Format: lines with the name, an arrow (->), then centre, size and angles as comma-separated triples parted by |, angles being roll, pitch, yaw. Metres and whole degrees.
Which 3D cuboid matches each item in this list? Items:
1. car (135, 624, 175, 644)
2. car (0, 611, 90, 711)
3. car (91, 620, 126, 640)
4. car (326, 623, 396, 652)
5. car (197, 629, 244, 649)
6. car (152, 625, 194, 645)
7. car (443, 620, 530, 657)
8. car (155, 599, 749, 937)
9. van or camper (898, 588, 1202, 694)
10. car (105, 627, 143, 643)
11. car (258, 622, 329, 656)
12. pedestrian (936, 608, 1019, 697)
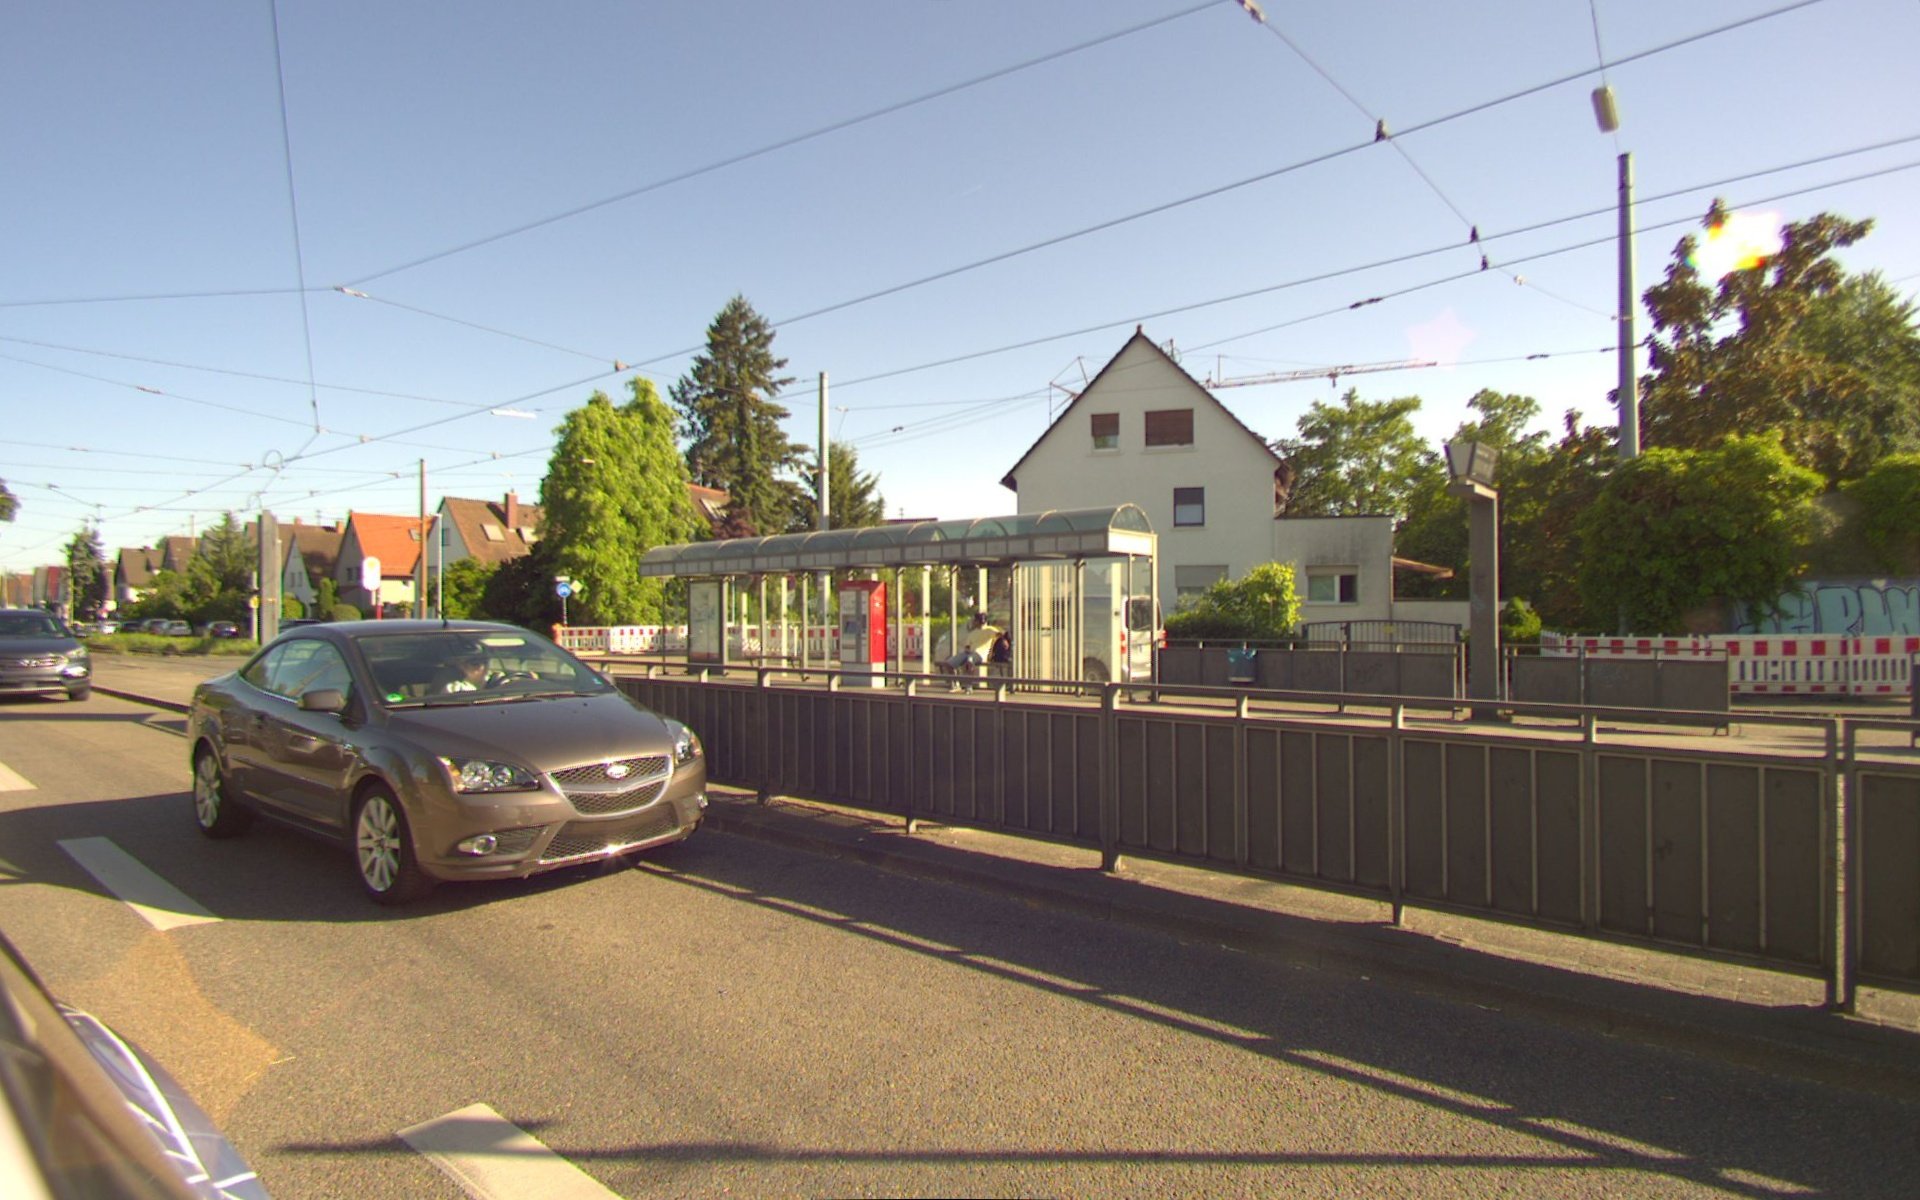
car -> -69.222, 2.912, 86.959 | 4.534, 1.573, 1.864 | -1, 0, 41
car -> -17.224, 1.052, 18.198 | 4.285, 1.642, 1.757 | -2, -2, 41
car -> -84.641, 2.979, 100.541 | 4.582, 1.877, 1.973 | -2, -1, 41
car -> -33.119, 2.025, 55.901 | 4.610, 1.483, 1.865 | -1, 0, 40
car -> -54.537, 2.826, 74.612 | 4.308, 1.382, 1.972 | -2, -1, 42
car -> -65.223, 2.888, 83.866 | 4.837, 1.483, 1.864 | -2, 0, 42
car -> -21.693, 1.726, 46.319 | 4.064, 1.512, 1.974 | -1, 0, 38
car -> -3.432, 0.786, 6.448 | 4.329, 1.461, 1.758 | -2, -2, 39
van or camper -> 1.628, 0.839, 20.226 | 5.981, 1.842, 1.974 | -3, -3, 39
car -> -78.217, 3.251, 94.658 | 4.979, 1.351, 1.973 | -1, 0, 41
car -> -32.134, 1.863, 48.748 | 4.341, 1.532, 1.717 | -2, -2, 41
pedestrian -> 0.310, 0.886, 17.510 | 1.006, 1.464, 1.050 | -1, -2, 40
